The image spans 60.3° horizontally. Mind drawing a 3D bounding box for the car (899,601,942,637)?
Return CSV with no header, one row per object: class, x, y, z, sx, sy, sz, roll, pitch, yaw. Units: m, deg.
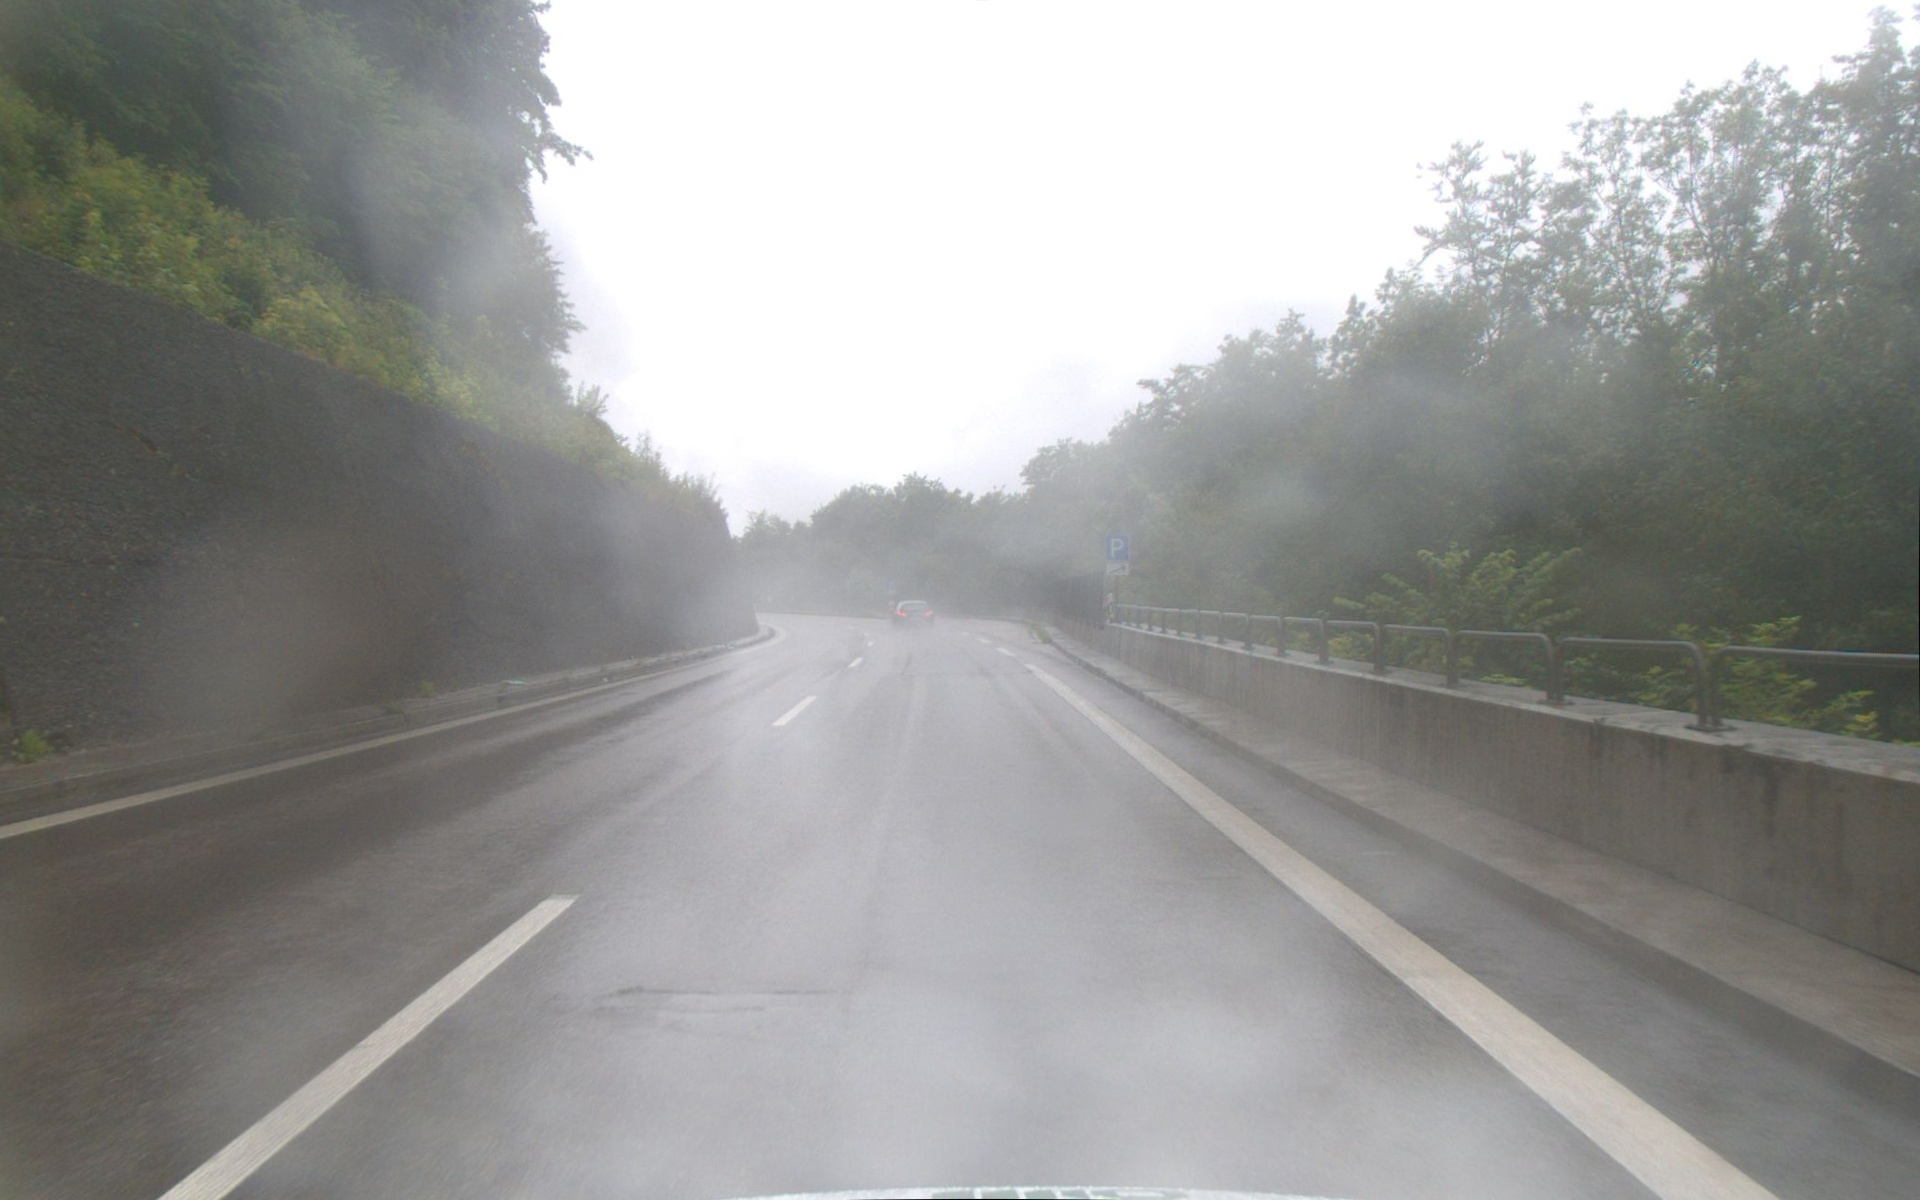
car,-1.781,0.839,73.986,1.865,1.525,3.998,1,0,-2
